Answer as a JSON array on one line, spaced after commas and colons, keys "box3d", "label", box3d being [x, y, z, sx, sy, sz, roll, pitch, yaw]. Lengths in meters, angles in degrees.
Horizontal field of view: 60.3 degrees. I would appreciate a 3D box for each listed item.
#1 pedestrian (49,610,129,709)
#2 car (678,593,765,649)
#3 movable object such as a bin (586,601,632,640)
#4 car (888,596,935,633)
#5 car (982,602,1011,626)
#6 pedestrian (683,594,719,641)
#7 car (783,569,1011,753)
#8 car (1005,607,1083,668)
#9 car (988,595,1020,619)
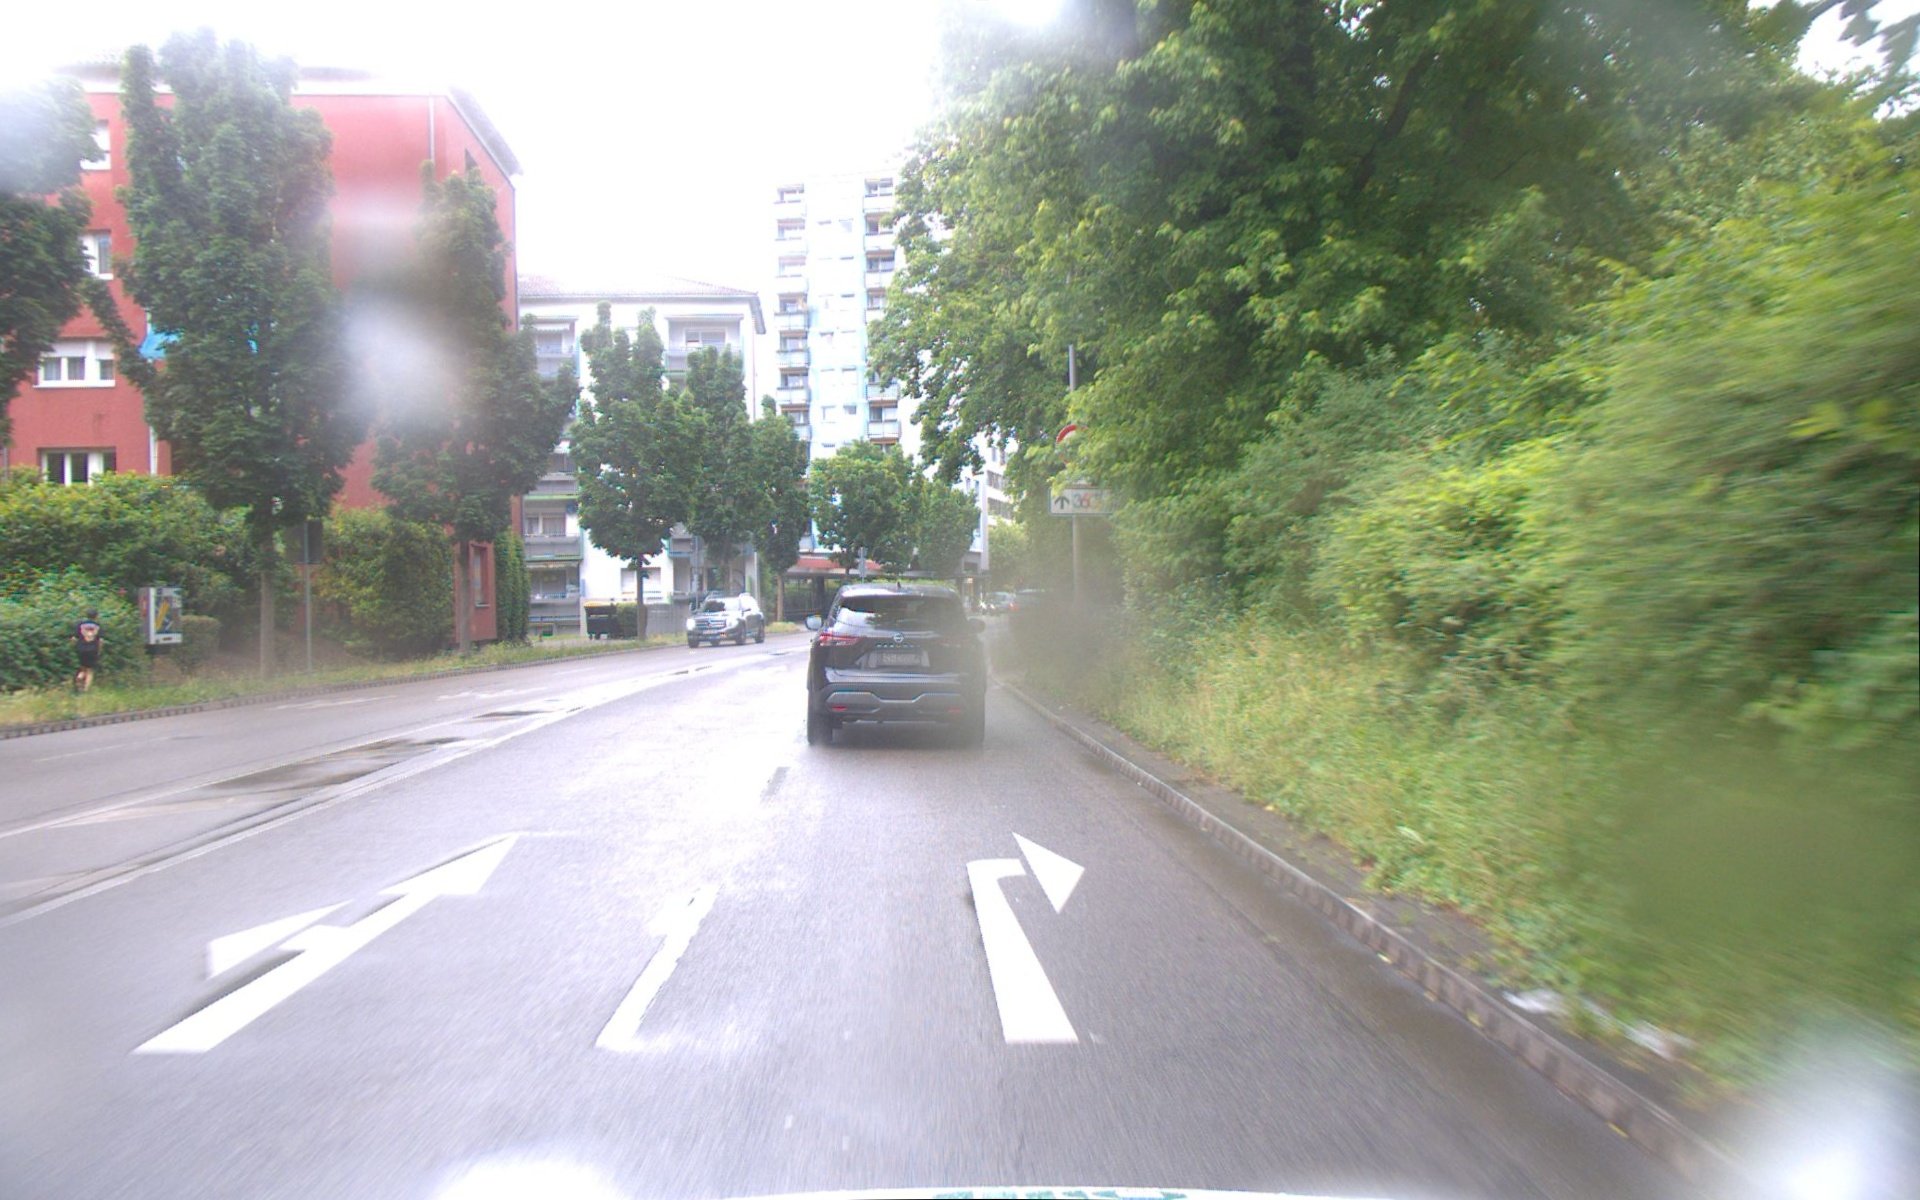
[{"box3d": [-14.240, 0.956, 27.057, 0.678, 1.544, 1.070, -2, 0, 1], "label": "pedestrian"}, {"box3d": [-7.851, 0.664, 54.856, 1.882, 1.659, 4.503, -3, 0, 3], "label": "car"}, {"box3d": [-12.983, 0.753, 61.257, 1.133, 1.354, 1.967, -2, 0, 4], "label": "movable object such as a bin"}, {"box3d": [-2.268, 0.669, 77.841, 1.640, 1.590, 4.145, 2, 1, 6], "label": "car"}, {"box3d": [2.722, 1.018, 122.710, 1.834, 1.630, 4.467, -3, 0, 5], "label": "car"}, {"box3d": [-10.434, 0.708, 66.653, 1.110, 1.835, 1.264, -2, 0, 7], "label": "pedestrian"}, {"box3d": [-0.802, 0.575, 17.781, 1.924, 1.681, 3.991, -2, 0, -10], "label": "car"}, {"box3d": [3.058, 1.321, 59.607, 1.951, 2.049, 4.003, -1, 0, 15], "label": "car"}, {"box3d": [2.972, 0.448, 110.193, 1.802, 1.409, 4.363, -3, 0, 5], "label": "car"}]
